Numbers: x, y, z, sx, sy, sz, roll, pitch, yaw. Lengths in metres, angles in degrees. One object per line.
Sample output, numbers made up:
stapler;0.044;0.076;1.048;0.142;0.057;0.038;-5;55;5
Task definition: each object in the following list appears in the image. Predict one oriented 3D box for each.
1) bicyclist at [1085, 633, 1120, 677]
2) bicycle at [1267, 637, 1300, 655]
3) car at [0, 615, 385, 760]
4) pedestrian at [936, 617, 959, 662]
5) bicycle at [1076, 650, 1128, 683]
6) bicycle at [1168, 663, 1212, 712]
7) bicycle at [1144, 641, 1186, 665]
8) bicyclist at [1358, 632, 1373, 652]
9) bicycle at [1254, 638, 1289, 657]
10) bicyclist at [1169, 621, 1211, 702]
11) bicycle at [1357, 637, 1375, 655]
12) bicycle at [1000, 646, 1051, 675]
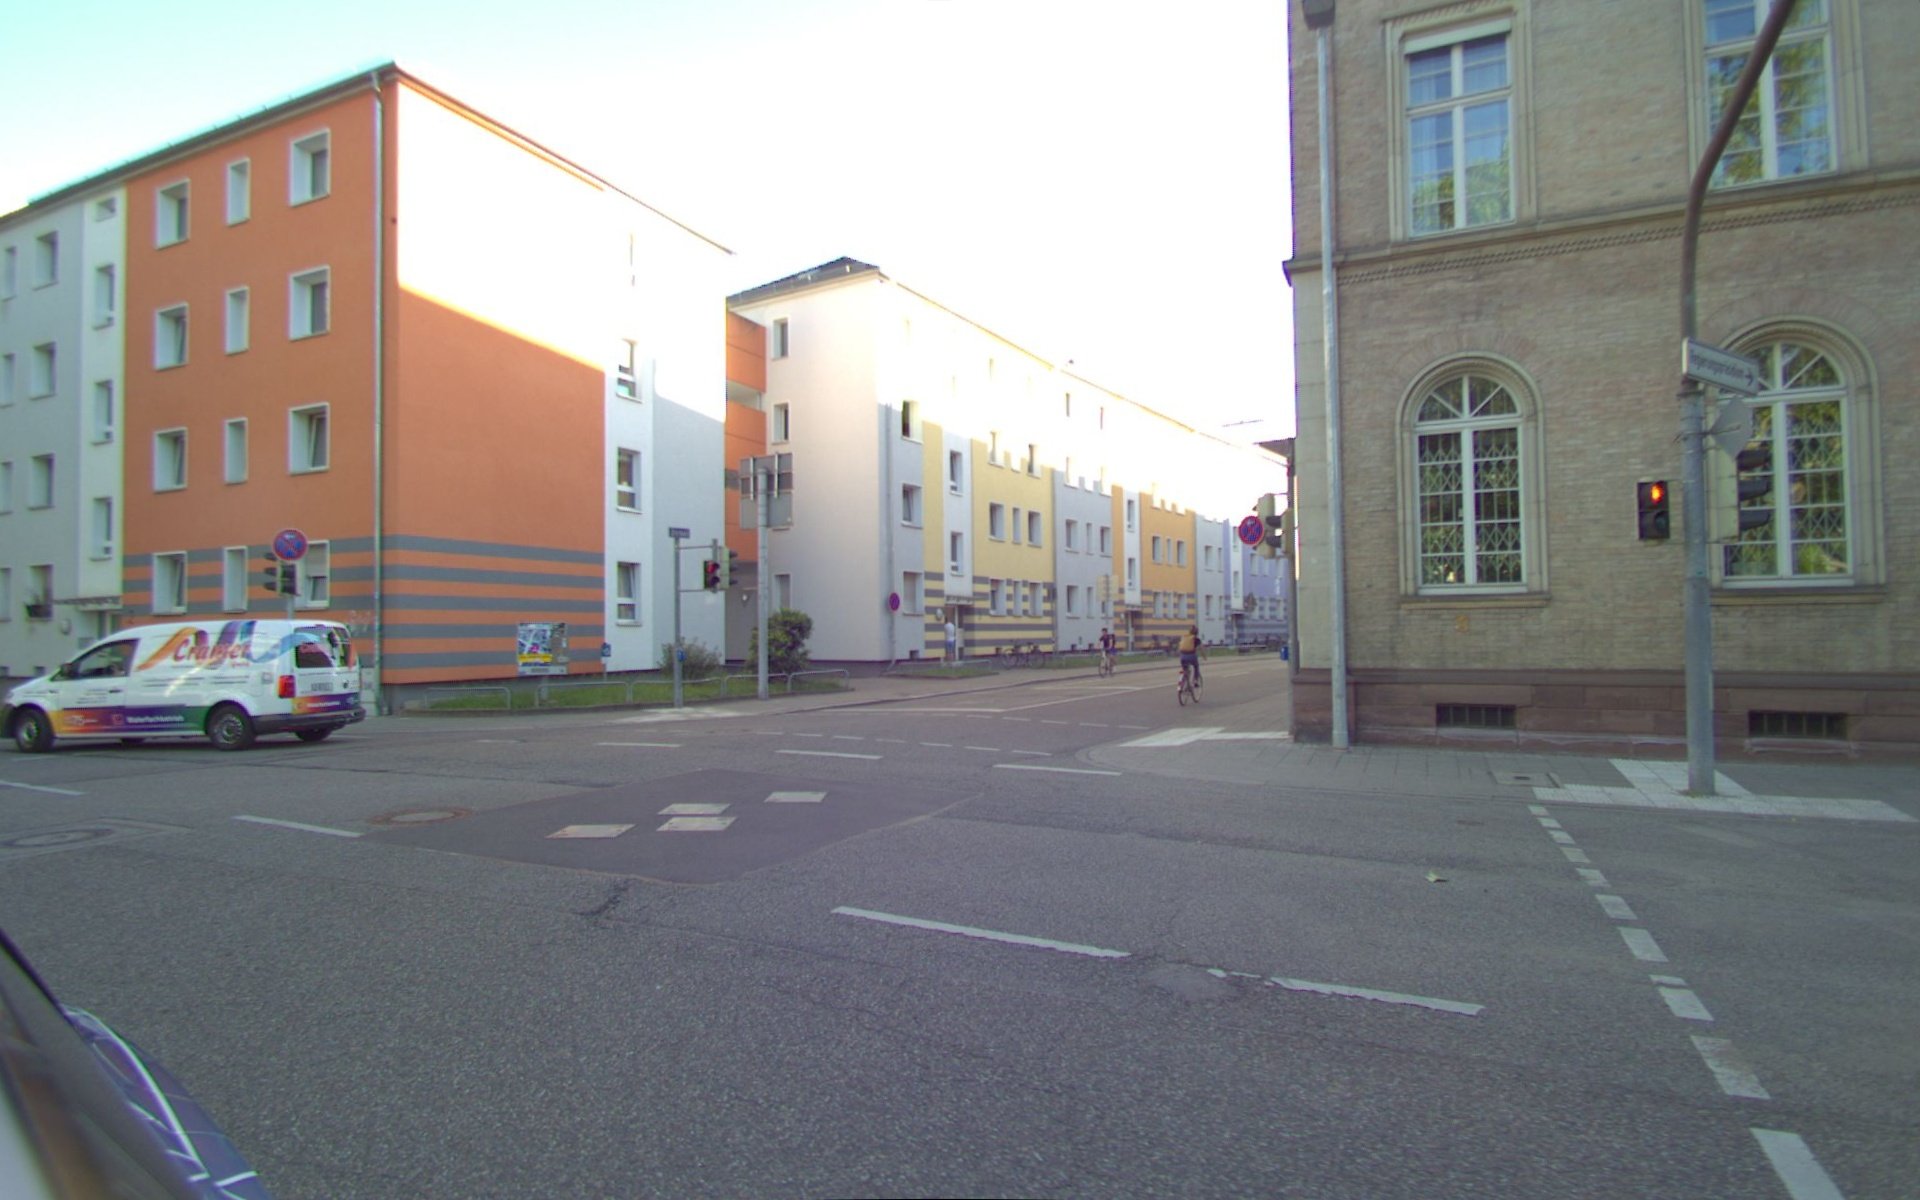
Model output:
bicyclist;4.660;1.816;33.024;0.791;1.383;0.827;-5;-7;38
bicycle;19.620;2.801;61.469;1.859;1.078;0.707;-2;-2;18
car;-11.384;1.269;14.644;5.057;1.831;1.998;-2;-4;3
pedestrian;-0.414;1.322;33.929;0.558;1.472;0.593;-2;-3;26
bicycle;4.640;2.173;32.942;0.789;1.007;1.967;-5;-6;38
bicycle;4.865;1.827;21.315;0.493;0.931;1.806;-2;-3;25
bicycle;9.814;2.535;48.499;1.865;1.078;0.705;-2;-2;25
bicyclist;25.699;2.667;64.083;0.676;1.269;0.812;-3;-3;34
bicycle;18.479;2.816;60.059;1.865;1.078;0.705;-2;-2;25
bicyclist;4.848;1.290;21.295;0.642;1.659;0.847;-2;-3;26
bicycle;25.722;2.933;64.112;0.676;1.119;1.775;-3;-3;35
bicycle;2.353;2.172;36.518;1.747;1.000;0.536;-1;-2;22
